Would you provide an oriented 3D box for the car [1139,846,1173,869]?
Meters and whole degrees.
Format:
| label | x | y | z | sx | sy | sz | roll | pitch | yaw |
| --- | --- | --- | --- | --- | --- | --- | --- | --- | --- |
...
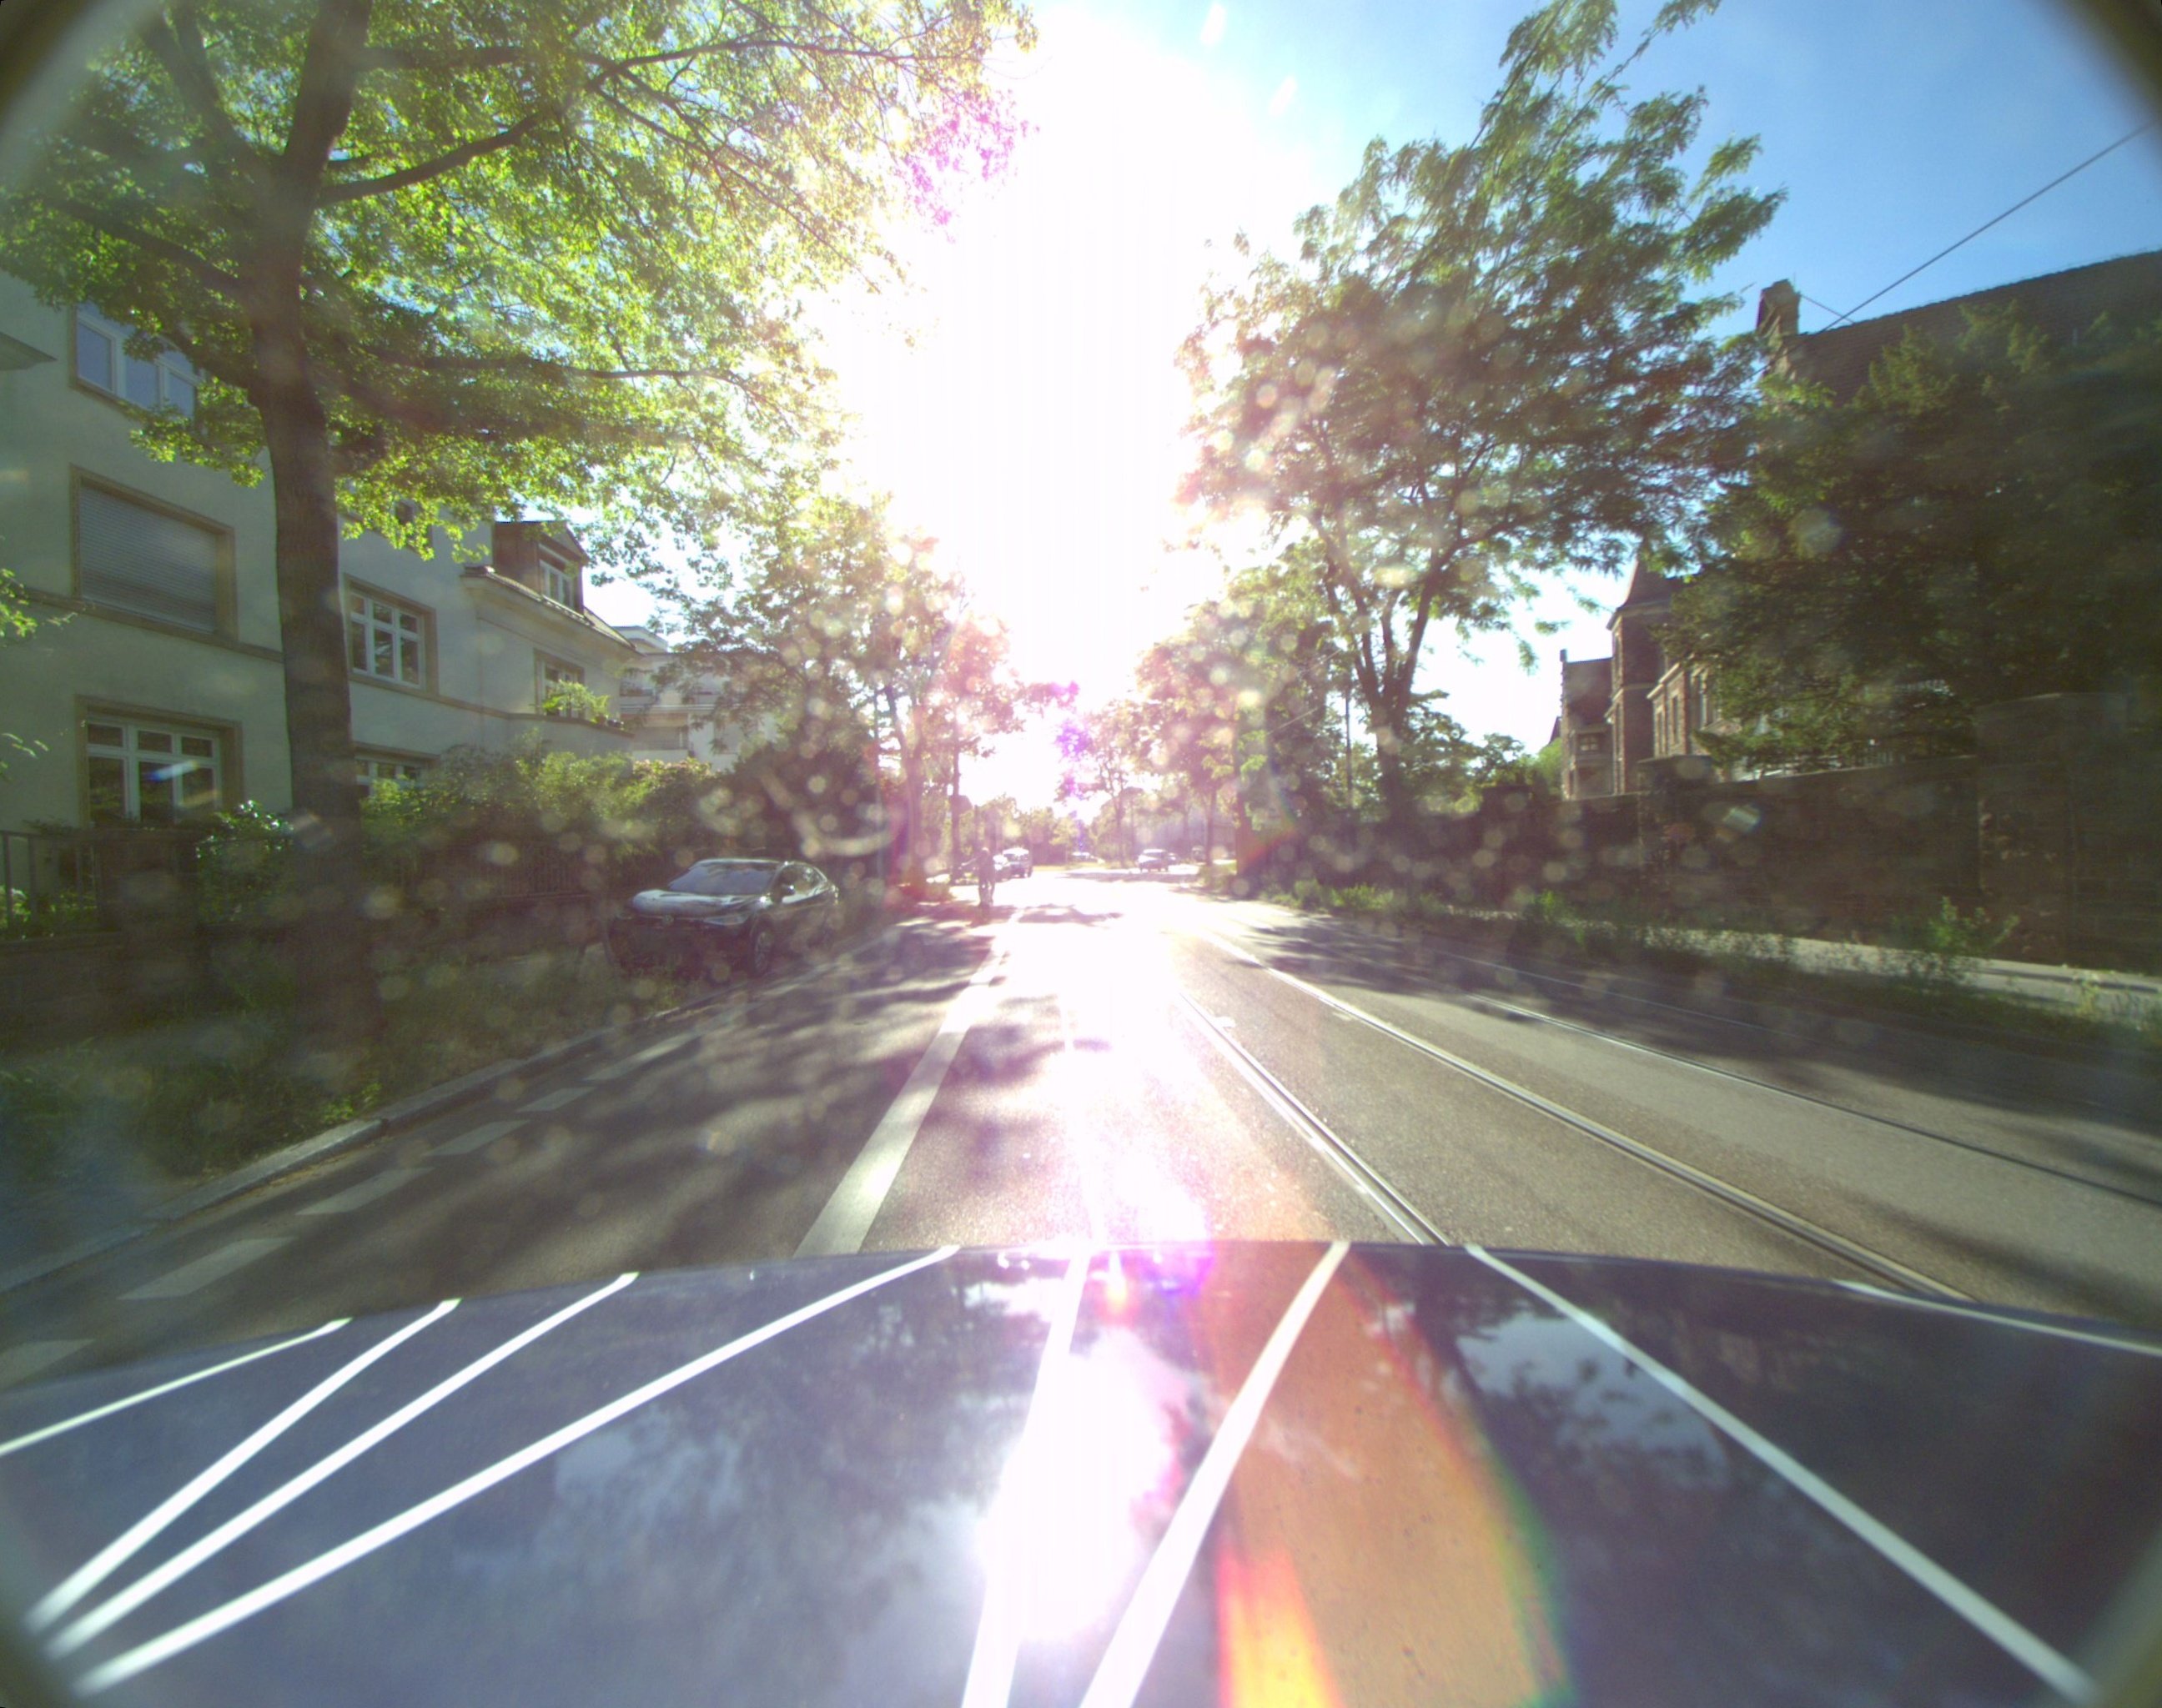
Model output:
| label | x | y | z | sx | sy | sz | roll | pitch | yaw |
| --- | --- | --- | --- | --- | --- | --- | --- | --- | --- |
| car | 6.440 | 0.256 | 64.860 | 1.875 | 1.805 | 4.973 | -1 | 0 | 17 |

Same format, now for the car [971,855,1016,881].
| label | x | y | z | sx | sy | sz | roll | pitch | yaw |
| --- | --- | --- | --- | --- | --- | --- | --- | --- | --- |
| car | -5.167 | 0.794 | 45.340 | 1.901 | 1.402 | 4.260 | -1 | 0 | 4 |

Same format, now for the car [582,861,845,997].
| label | x | y | z | sx | sy | sz | roll | pitch | yaw |
| --- | --- | --- | --- | --- | --- | --- | --- | --- | --- |
| car | -5.200 | 0.947 | 11.514 | 1.919 | 1.590 | 4.258 | 2 | 0 | -1 |

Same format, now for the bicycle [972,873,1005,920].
| label | x | y | z | sx | sy | sz | roll | pitch | yaw |
| --- | --- | --- | --- | --- | --- | --- | --- | --- | --- |
| bicycle | -2.440 | 1.108 | 20.244 | 0.588 | 1.105 | 1.855 | -2 | 0 | 1 |

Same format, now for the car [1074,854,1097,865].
| label | x | y | z | sx | sy | sz | roll | pitch | yaw |
| --- | --- | --- | --- | --- | --- | --- | --- | --- | --- |
| car | 0.747 | 0.918 | 128.796 | 3.908 | 1.683 | 1.905 | -2 | 0 | -1 |

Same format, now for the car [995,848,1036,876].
| label | x | y | z | sx | sy | sz | roll | pitch | yaw |
| --- | --- | --- | --- | --- | --- | --- | --- | --- | --- |
| car | -4.405 | 0.506 | 51.696 | 1.900 | 1.775 | 4.670 | -1 | 0 | 6 |

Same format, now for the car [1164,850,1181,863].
| label | x | y | z | sx | sy | sz | roll | pitch | yaw |
| --- | --- | --- | --- | --- | --- | --- | --- | --- | --- |
| car | 11.910 | 0.313 | 98.728 | 1.997 | 1.539 | 4.002 | -2 | 0 | 8 |

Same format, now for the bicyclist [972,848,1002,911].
| label | x | y | z | sx | sy | sz | roll | pitch | yaw |
| --- | --- | --- | --- | --- | --- | --- | --- | --- | --- |
| bicyclist | -2.472 | 0.663 | 20.075 | 0.644 | 1.632 | 0.665 | -2 | 1 | 1 |

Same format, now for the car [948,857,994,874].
| label | x | y | z | sx | sy | sz | roll | pitch | yaw |
| --- | --- | --- | --- | --- | --- | --- | --- | --- | --- |
| car | -10.045 | 1.047 | 69.545 | 3.998 | 1.433 | 1.813 | -2 | 0 | -3 |
